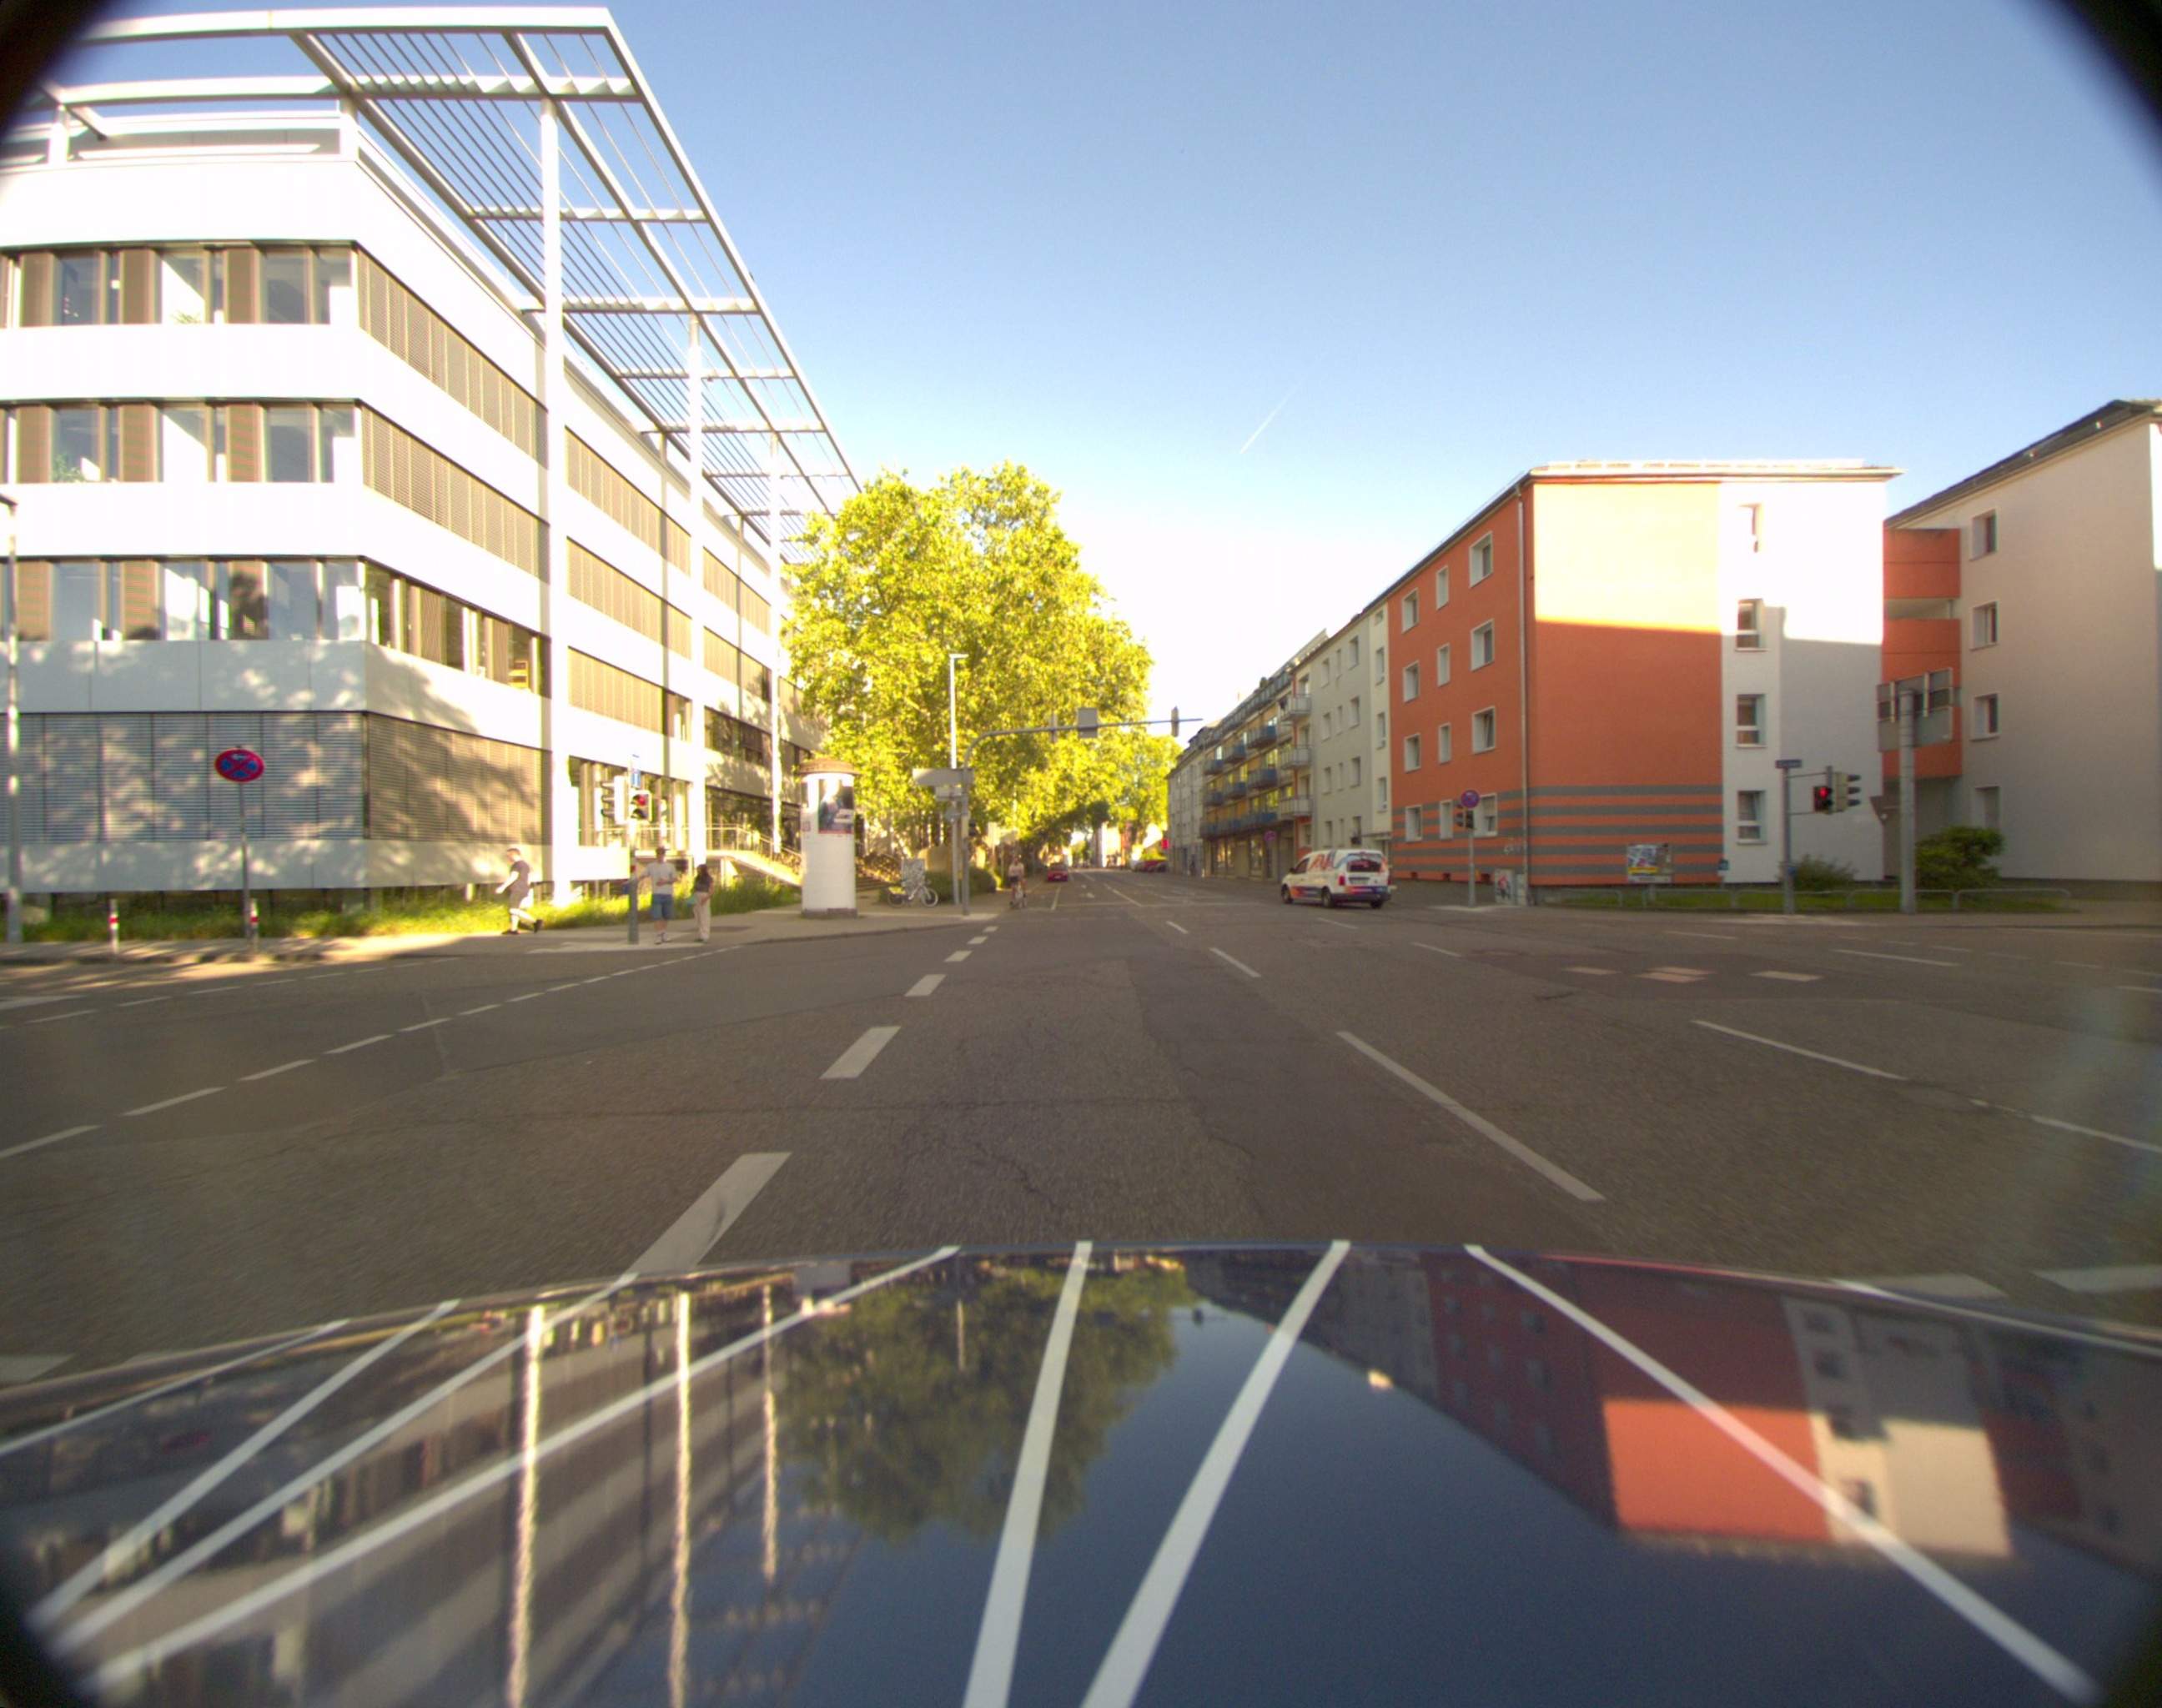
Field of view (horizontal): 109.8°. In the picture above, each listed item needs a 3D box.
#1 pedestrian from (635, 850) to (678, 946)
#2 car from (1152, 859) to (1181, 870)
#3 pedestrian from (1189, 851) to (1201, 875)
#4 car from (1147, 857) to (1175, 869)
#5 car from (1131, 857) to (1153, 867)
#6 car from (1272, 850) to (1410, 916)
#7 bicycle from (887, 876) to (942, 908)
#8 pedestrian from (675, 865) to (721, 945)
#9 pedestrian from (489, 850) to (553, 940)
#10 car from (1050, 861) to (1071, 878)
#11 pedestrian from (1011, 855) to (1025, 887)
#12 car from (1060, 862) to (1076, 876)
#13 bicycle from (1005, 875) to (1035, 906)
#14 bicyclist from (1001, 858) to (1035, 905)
[{"bbox_3d":[-8.307,0.844,14.880,0.604,1.828,0.569,-1,0,-17],"label":"pedestrian"},{"bbox_3d":[12.319,1.517,110.133,3.997,1.689,1.834,0,0,0],"label":"car"},{"bbox_3d":[11.231,0.899,74.822,0.914,2.382,1.088,0,0,-2],"label":"pedestrian"},{"bbox_3d":[12.097,1.339,115.375,3.997,1.689,1.834,0,0,0],"label":"car"},{"bbox_3d":[11.293,1.482,140.623,3.997,1.689,1.834,0,0,0],"label":"car"},{"bbox_3d":[8.155,0.829,24.477,2.000,1.806,5.120,1,1,-9],"label":"car"},{"bbox_3d":[-5.492,1.258,25.113,1.638,0.993,0.621,1,2,-27],"label":"bicycle"},{"bbox_3d":[-7.497,0.979,14.896,0.674,1.515,0.560,-1,0,-13],"label":"pedestrian"},{"bbox_3d":[-11.436,0.808,15.537,0.997,1.762,0.604,-1,2,-33],"label":"pedestrian"},{"bbox_3d":[-1.881,1.382,68.517,1.787,1.520,4.656,-1,-1,-2],"label":"car"},{"bbox_3d":[-3.642,0.976,43.641,0.671,1.786,0.665,-4,2,-7],"label":"pedestrian"},{"bbox_3d":[-1.518,1.756,88.728,1.786,1.520,4.657,-1,-1,-1],"label":"car"},{"bbox_3d":[-2.149,1.282,27.179,0.703,1.060,1.929,-1,-2,7],"label":"bicycle"},{"bbox_3d":[-2.229,0.964,26.977,0.949,1.630,1.008,-1,0,6],"label":"bicyclist"}]
